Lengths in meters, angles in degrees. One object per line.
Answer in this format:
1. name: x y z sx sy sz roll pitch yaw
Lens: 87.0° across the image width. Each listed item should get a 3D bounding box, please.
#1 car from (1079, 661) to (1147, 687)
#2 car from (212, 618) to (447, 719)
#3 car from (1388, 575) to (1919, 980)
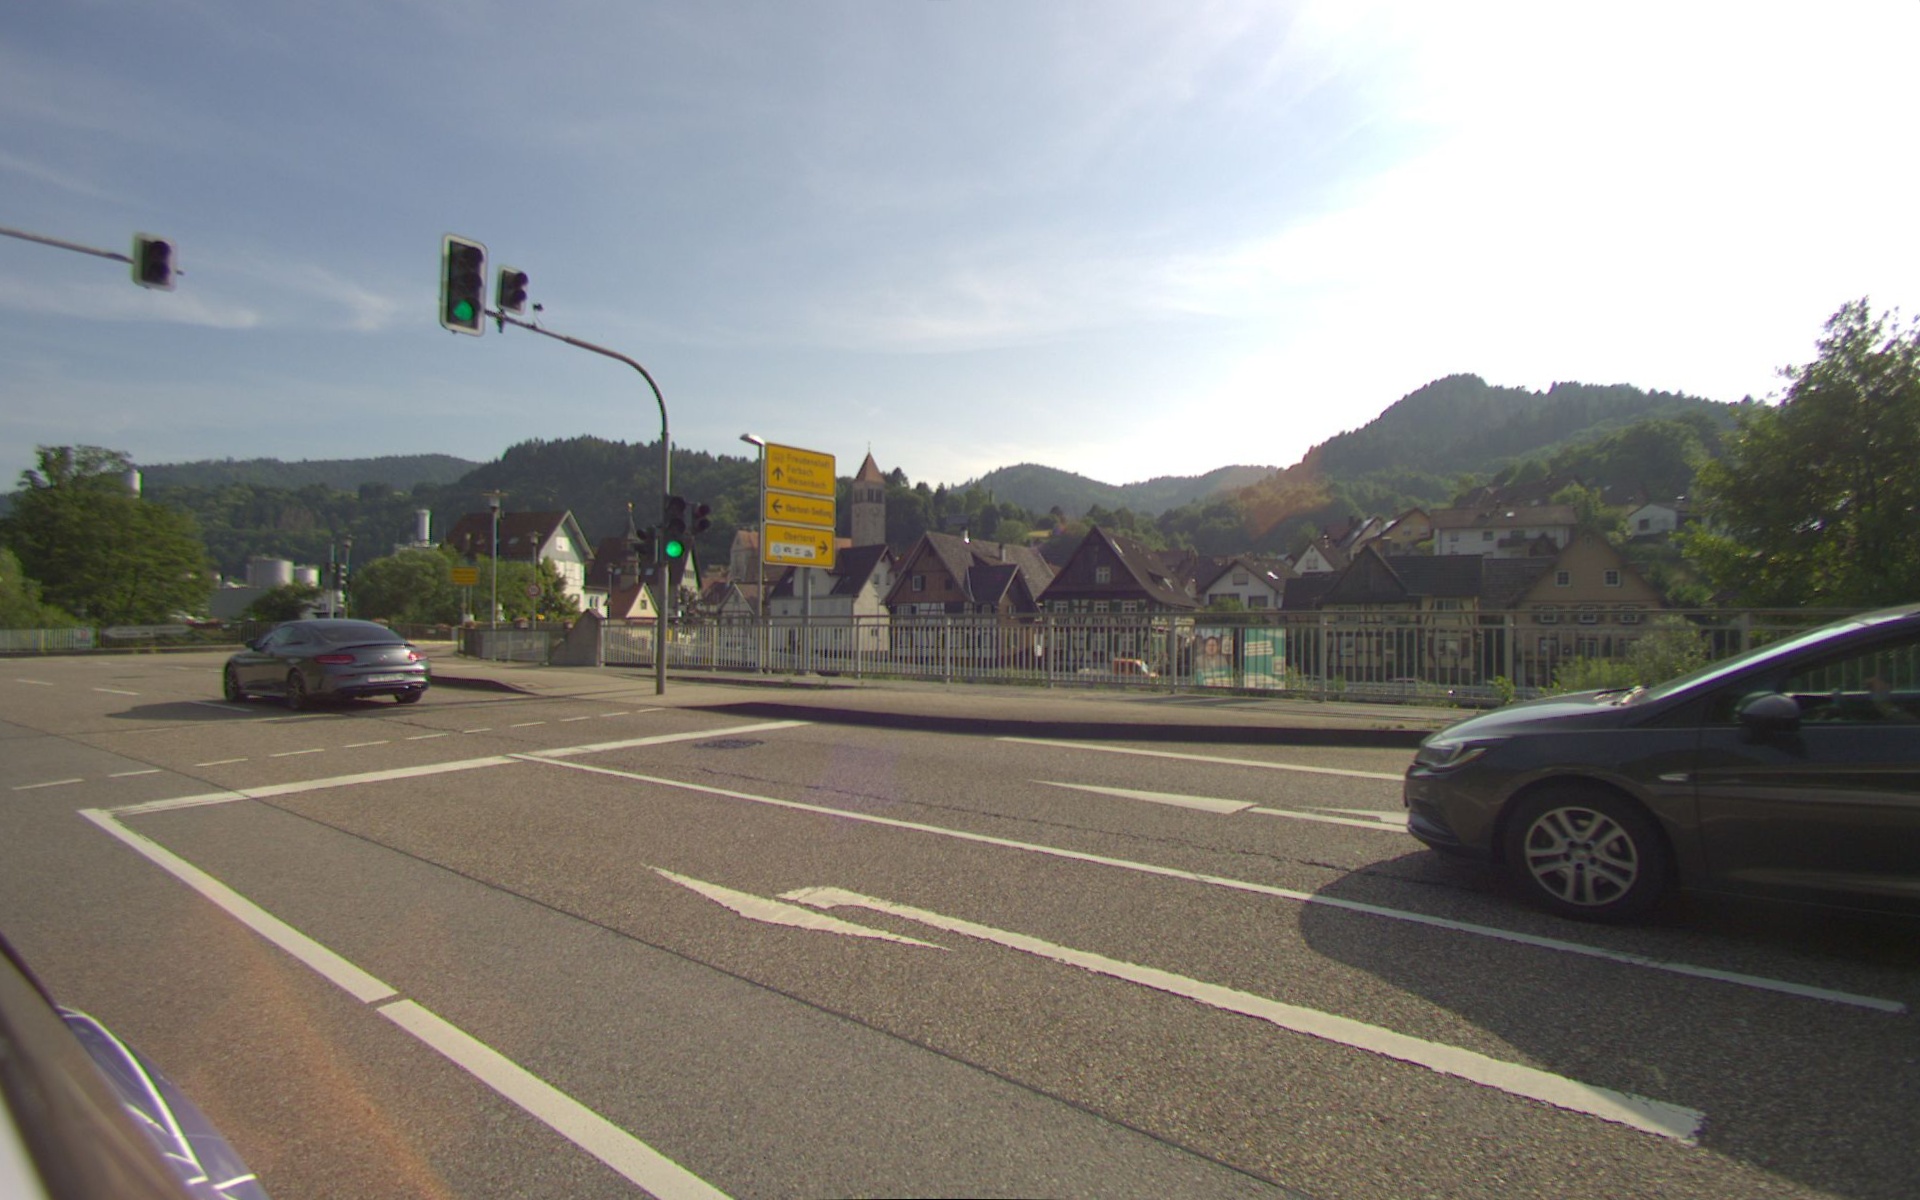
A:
1. car: 10.744 5.164 71.084 4.519 1.705 1.484 -1 -2 26
2. car: -10.351 1.023 16.477 4.637 1.388 1.754 -1 0 38
3. car: 4.472 0.658 4.098 4.750 1.490 1.767 -1 -2 40
